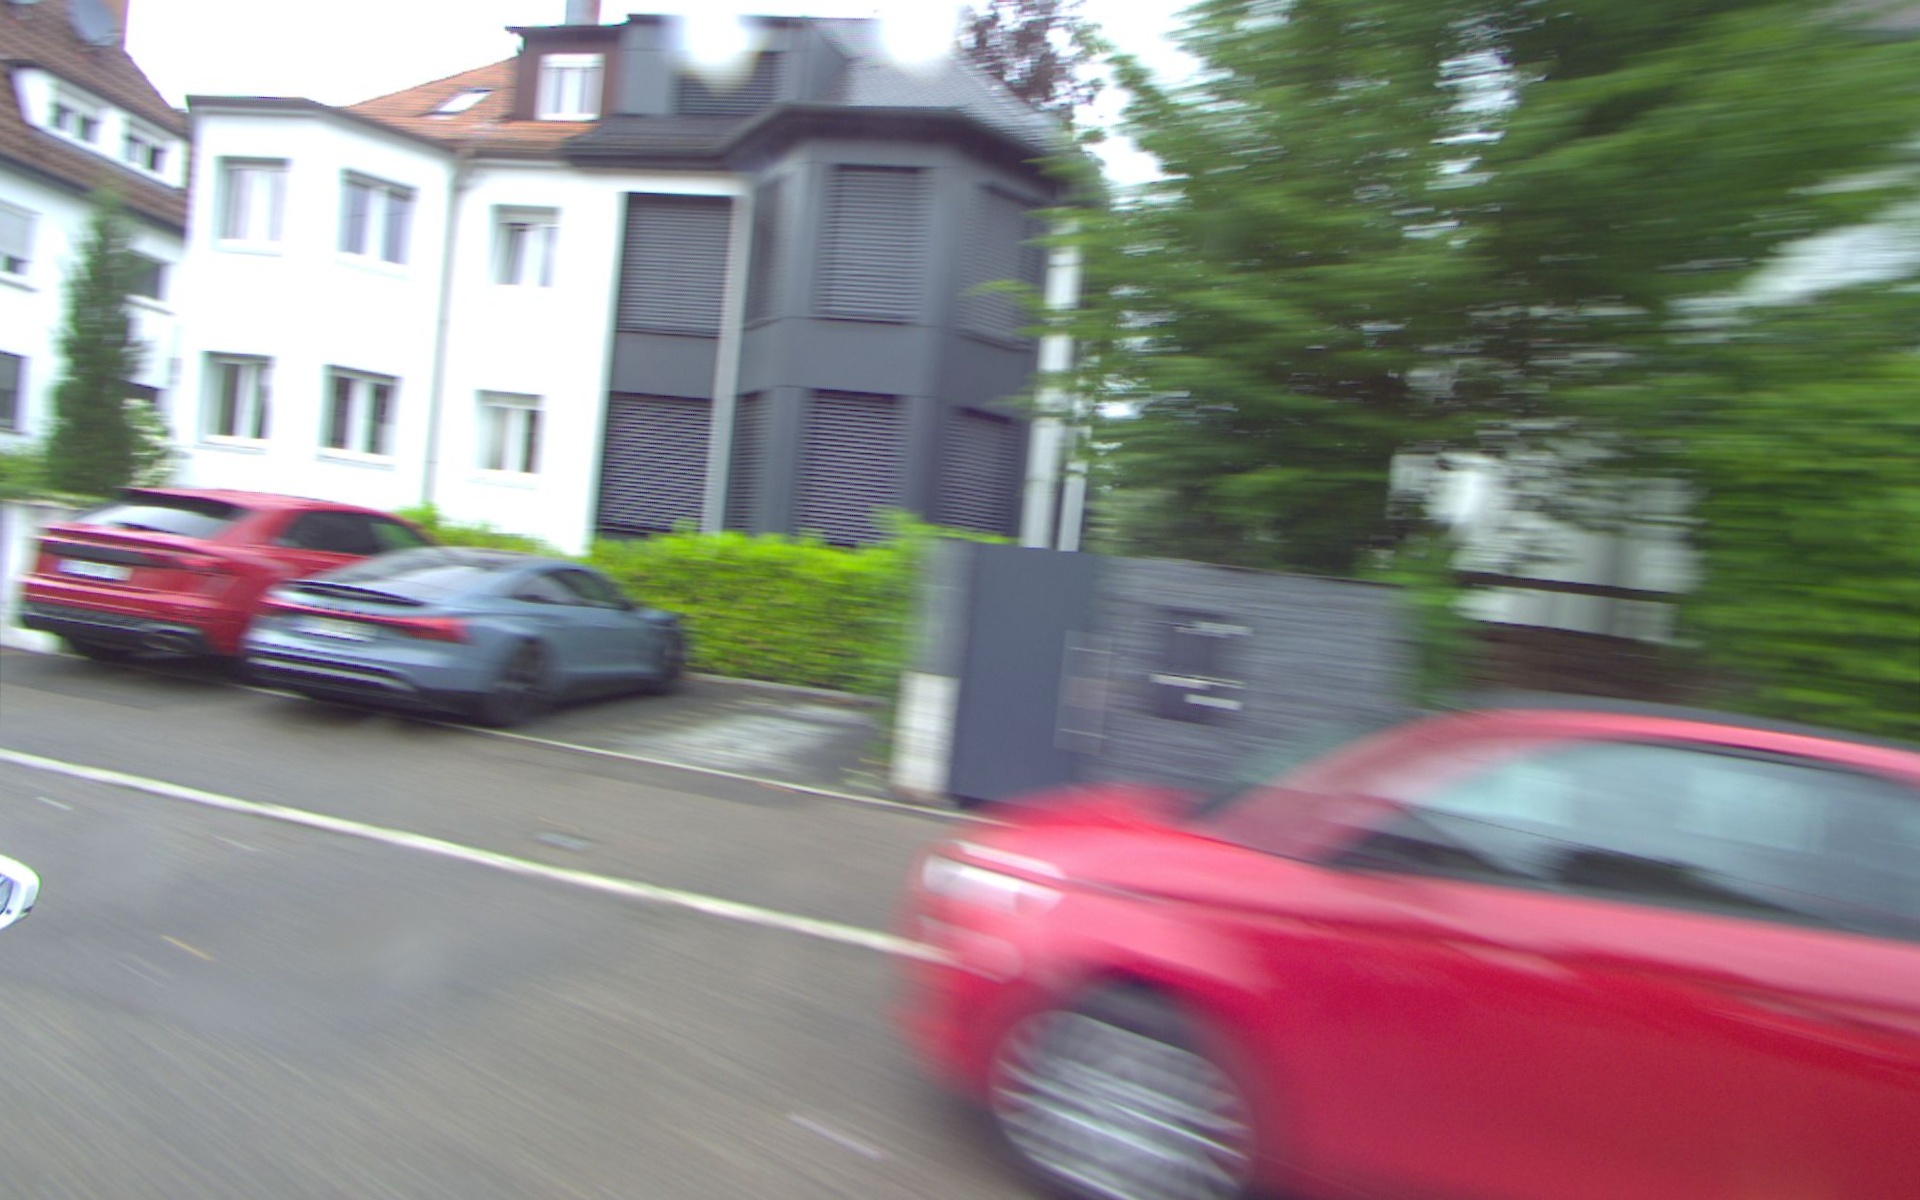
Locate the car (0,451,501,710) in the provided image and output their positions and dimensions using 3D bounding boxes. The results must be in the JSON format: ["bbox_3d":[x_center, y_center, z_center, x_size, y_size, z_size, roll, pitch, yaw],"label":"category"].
[{"bbox_3d":[-6.585,-0.191,9.721,1.962,1.773,4.085,7,1,6],"label":"car"}]

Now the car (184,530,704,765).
[{"bbox_3d":[-4.316,0.319,9.471,1.962,1.435,4.561,7,1,8],"label":"car"}]

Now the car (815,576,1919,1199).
[{"bbox_3d":[1.577,0.970,3.020,3.473,1.556,1.618,7,-1,16],"label":"car"}]
